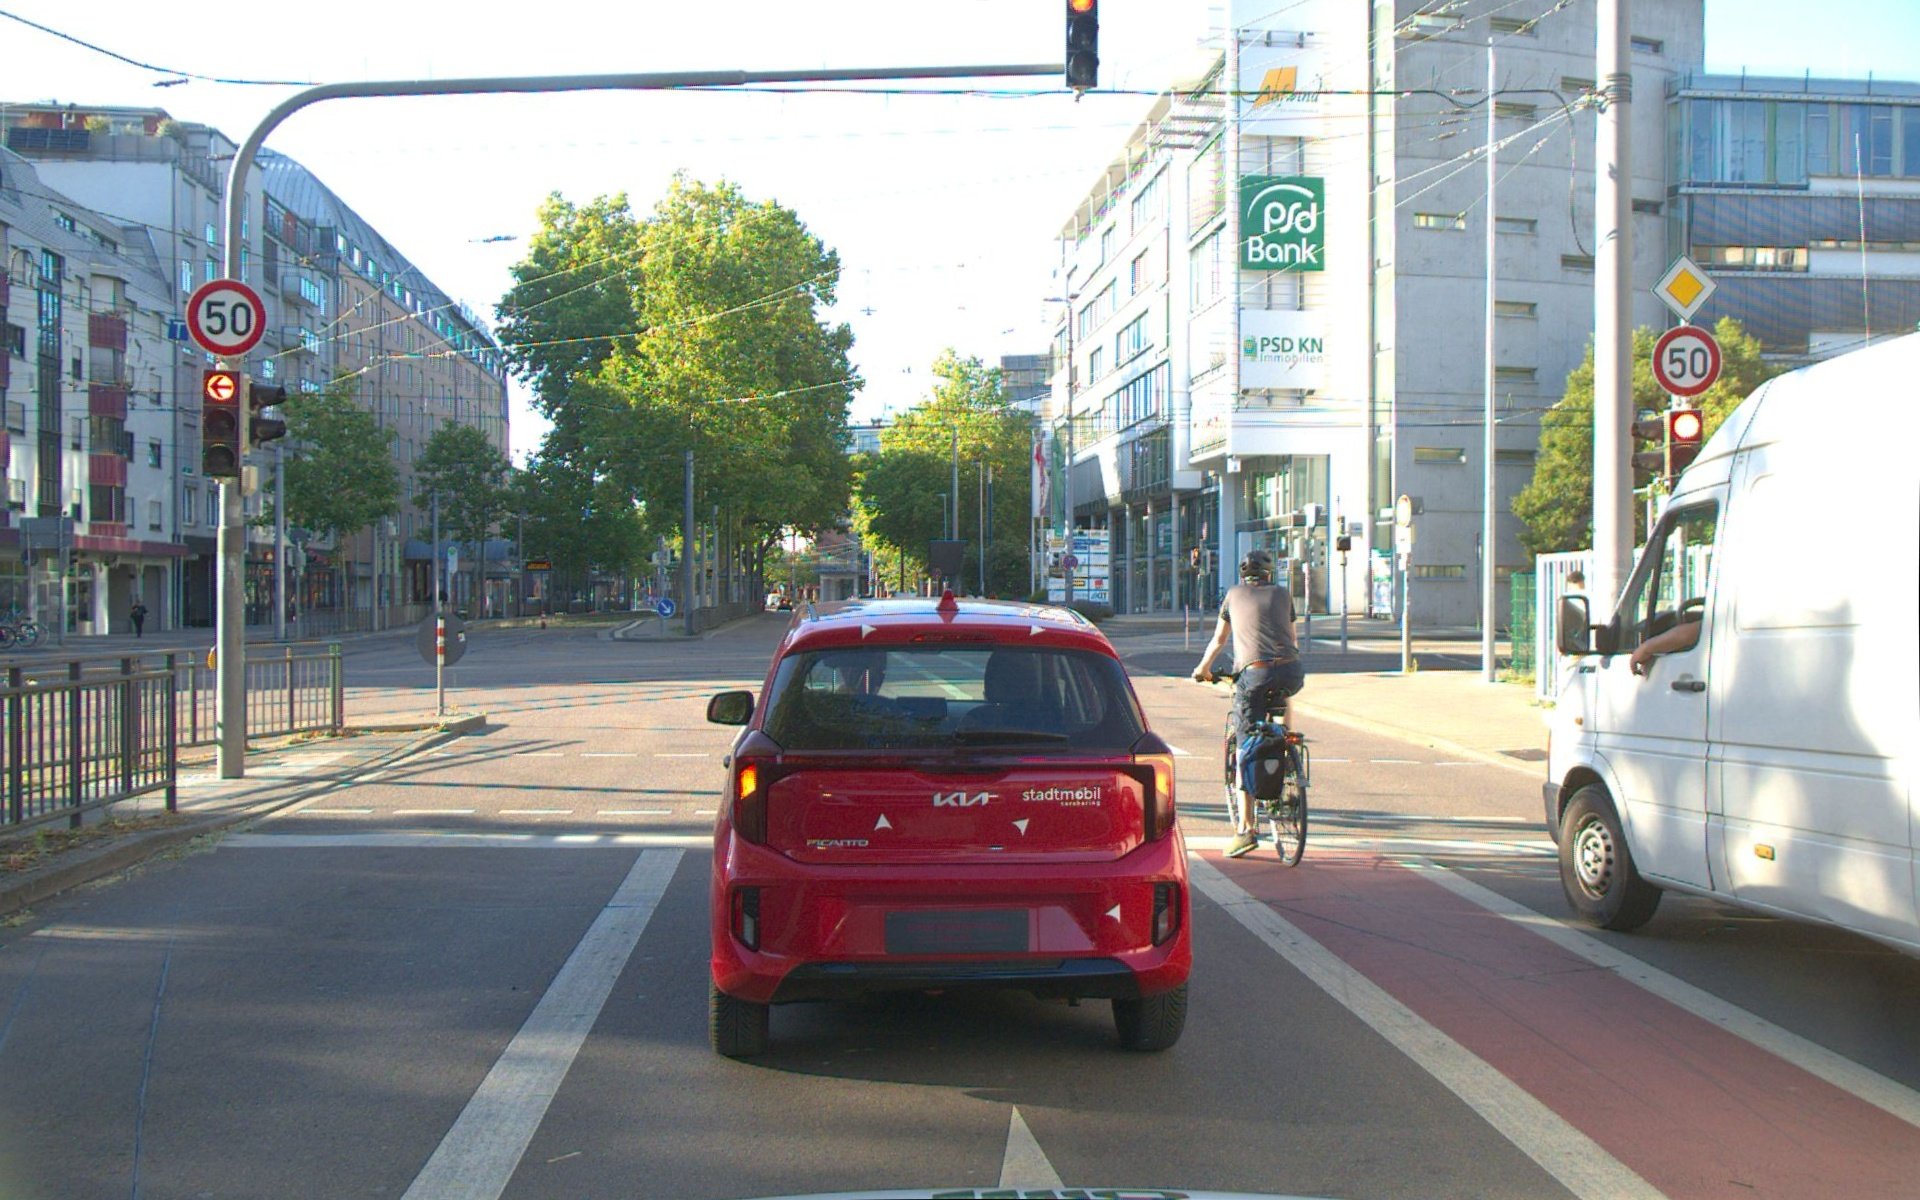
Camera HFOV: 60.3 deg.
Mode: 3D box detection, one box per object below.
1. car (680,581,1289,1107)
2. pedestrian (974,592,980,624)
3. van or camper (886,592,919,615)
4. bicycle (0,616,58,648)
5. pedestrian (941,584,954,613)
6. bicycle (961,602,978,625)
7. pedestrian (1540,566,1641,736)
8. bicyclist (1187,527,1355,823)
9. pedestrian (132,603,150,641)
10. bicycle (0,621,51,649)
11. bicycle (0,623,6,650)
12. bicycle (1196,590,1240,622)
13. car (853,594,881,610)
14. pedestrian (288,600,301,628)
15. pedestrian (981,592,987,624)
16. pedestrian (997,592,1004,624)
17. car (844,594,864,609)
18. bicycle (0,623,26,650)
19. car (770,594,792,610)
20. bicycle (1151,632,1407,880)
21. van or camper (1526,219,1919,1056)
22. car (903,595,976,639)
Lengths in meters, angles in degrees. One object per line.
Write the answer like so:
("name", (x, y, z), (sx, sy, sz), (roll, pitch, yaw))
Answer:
("car", (-0.080, 0.696, 6.745), (1.804, 1.515, 3.712), (0, 0, -5))
("pedestrian", (0.858, 0.393, 83.187), (0.288, 1.589, 0.302), (-1, 0, -3))
("van or camper", (-4.595, 0.244, 132.018), (2.105, 1.781, 4.423), (-1, 0, -8))
("bicycle", (-29.715, 1.003, 52.202), (2.129, 0.967, 0.491), (-1, 0, -9))
("pedestrian", (-0.779, -0.101, 103.187), (0.729, 1.746, 0.747), (0, 0, -9))
("bicycle", (0.529, 0.733, 90.501), (0.776, 1.182, 2.501), (0, 0, 4))
("pedestrian", (6.789, 0.533, 17.834), (0.770, 1.779, 0.772), (-1, 0, -1))
("bicyclist", (1.850, 0.431, 9.915), (0.730, 1.698, 0.743), (1, 0, -11))
("pedestrian", (-32.489, 0.867, 65.604), (0.501, 1.484, 0.526), (-1, 0, -12))
("bicycle", (-29.607, 1.098, 51.567), (2.129, 0.838, 0.527), (-1, 0, -9))
("bicycle", (-29.786, 1.113, 49.421), (2.129, 0.801, 0.639), (-1, 0, -9))
("bicycle", (11.714, 0.270, 75.148), (1.898, 1.468, 0.574), (0, 0, -7))
("car", (-9.380, 0.172, 166.254), (2.431, 1.555, 4.424), (-1, 0, -7))
("pedestrian", (-35.389, 0.740, 87.895), (0.500, 1.484, 0.527), (-1, 0, -8))
("pedestrian", (1.207, 0.397, 83.214), (0.288, 1.589, 0.355), (-1, 0, -4))
("pedestrian", (2.050, 0.402, 83.614), (0.288, 1.589, 0.314), (-1, 0, 11))
("car", (-11.667, 0.182, 181.604), (1.850, 1.555, 4.423), (-1, 0, -8))
("bicycle", (-29.611, 1.114, 50.204), (2.129, 0.801, 0.491), (-1, 0, -9))
("car", (-18.940, 0.208, 175.027), (2.020, 1.682, 3.483), (-1, 0, -11))
("bicycle", (1.835, 0.856, 9.916), (0.730, 1.245, 2.150), (1, 1, -11))
("van or camper", (4.311, 0.149, 5.427), (2.224, 2.781, 6.341), (2, 0, -5))
("car", (-0.835, 0.636, 63.511), (1.813, 1.595, 4.257), (-1, 0, -15))
